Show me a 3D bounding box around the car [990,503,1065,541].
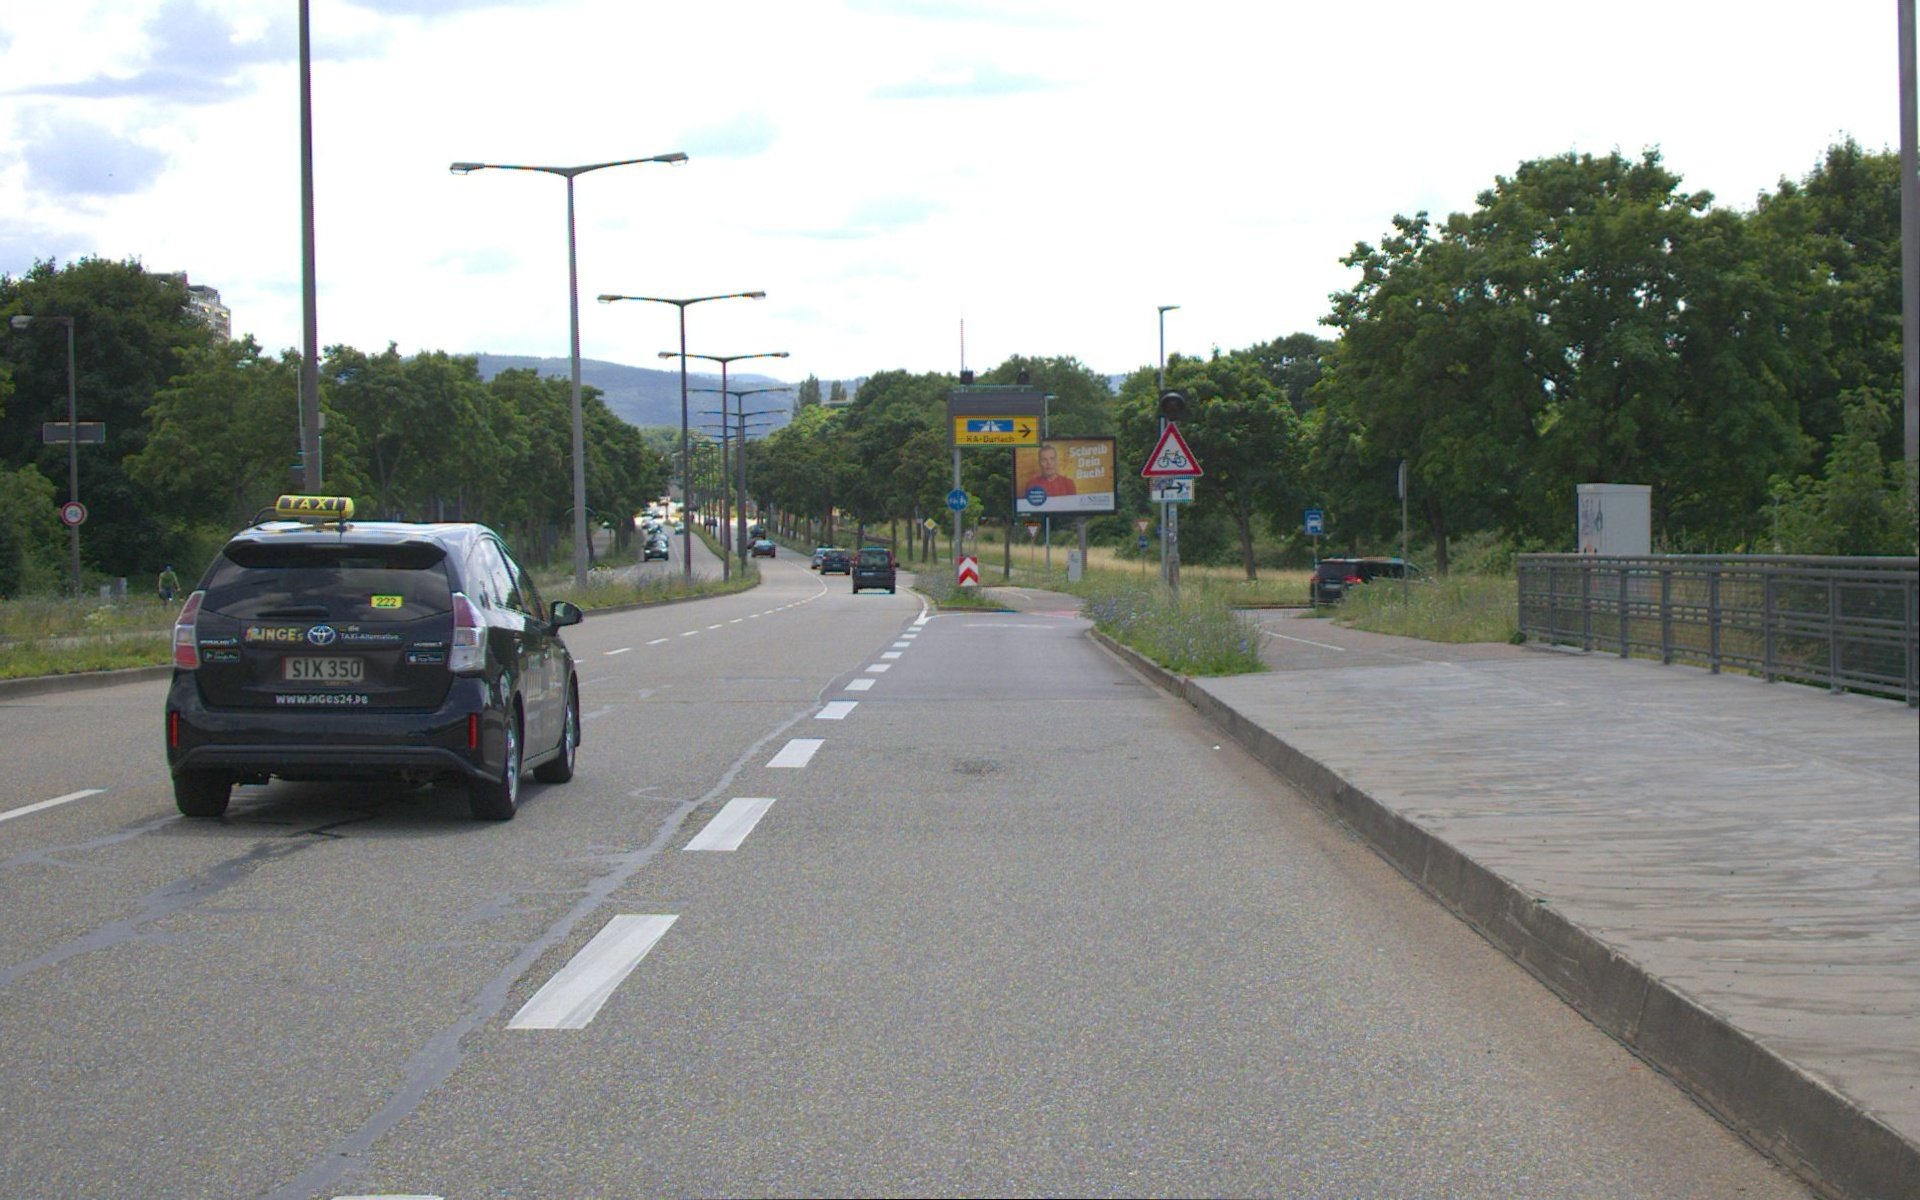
[{"bbox_3d":[3.089,-3.590,158.733,1.993,1.656,4.001,0,2,-22],"label":"car"}]

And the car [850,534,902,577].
[{"bbox_3d":[-3.467,-1.843,140.965,1.993,1.656,4.001,1,2,-3],"label":"car"}]

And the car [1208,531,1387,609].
[{"bbox_3d":[7.623,-0.694,77.334,1.999,1.656,3.990,3,3,42],"label":"car"}]

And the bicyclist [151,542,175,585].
[{"bbox_3d":[-24.341,-1.110,105.033,0.520,1.268,1.107,1,2,-4],"label":"bicyclist"}]

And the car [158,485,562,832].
[{"bbox_3d":[-3.209,0.228,19.072,1.779,1.678,4.001,1,2,-4],"label":"car"}]

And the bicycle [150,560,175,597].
[{"bbox_3d":[-24.348,-0.667,105.025,0.431,1.064,1.908,1,2,-4],"label":"bicycle"}]
